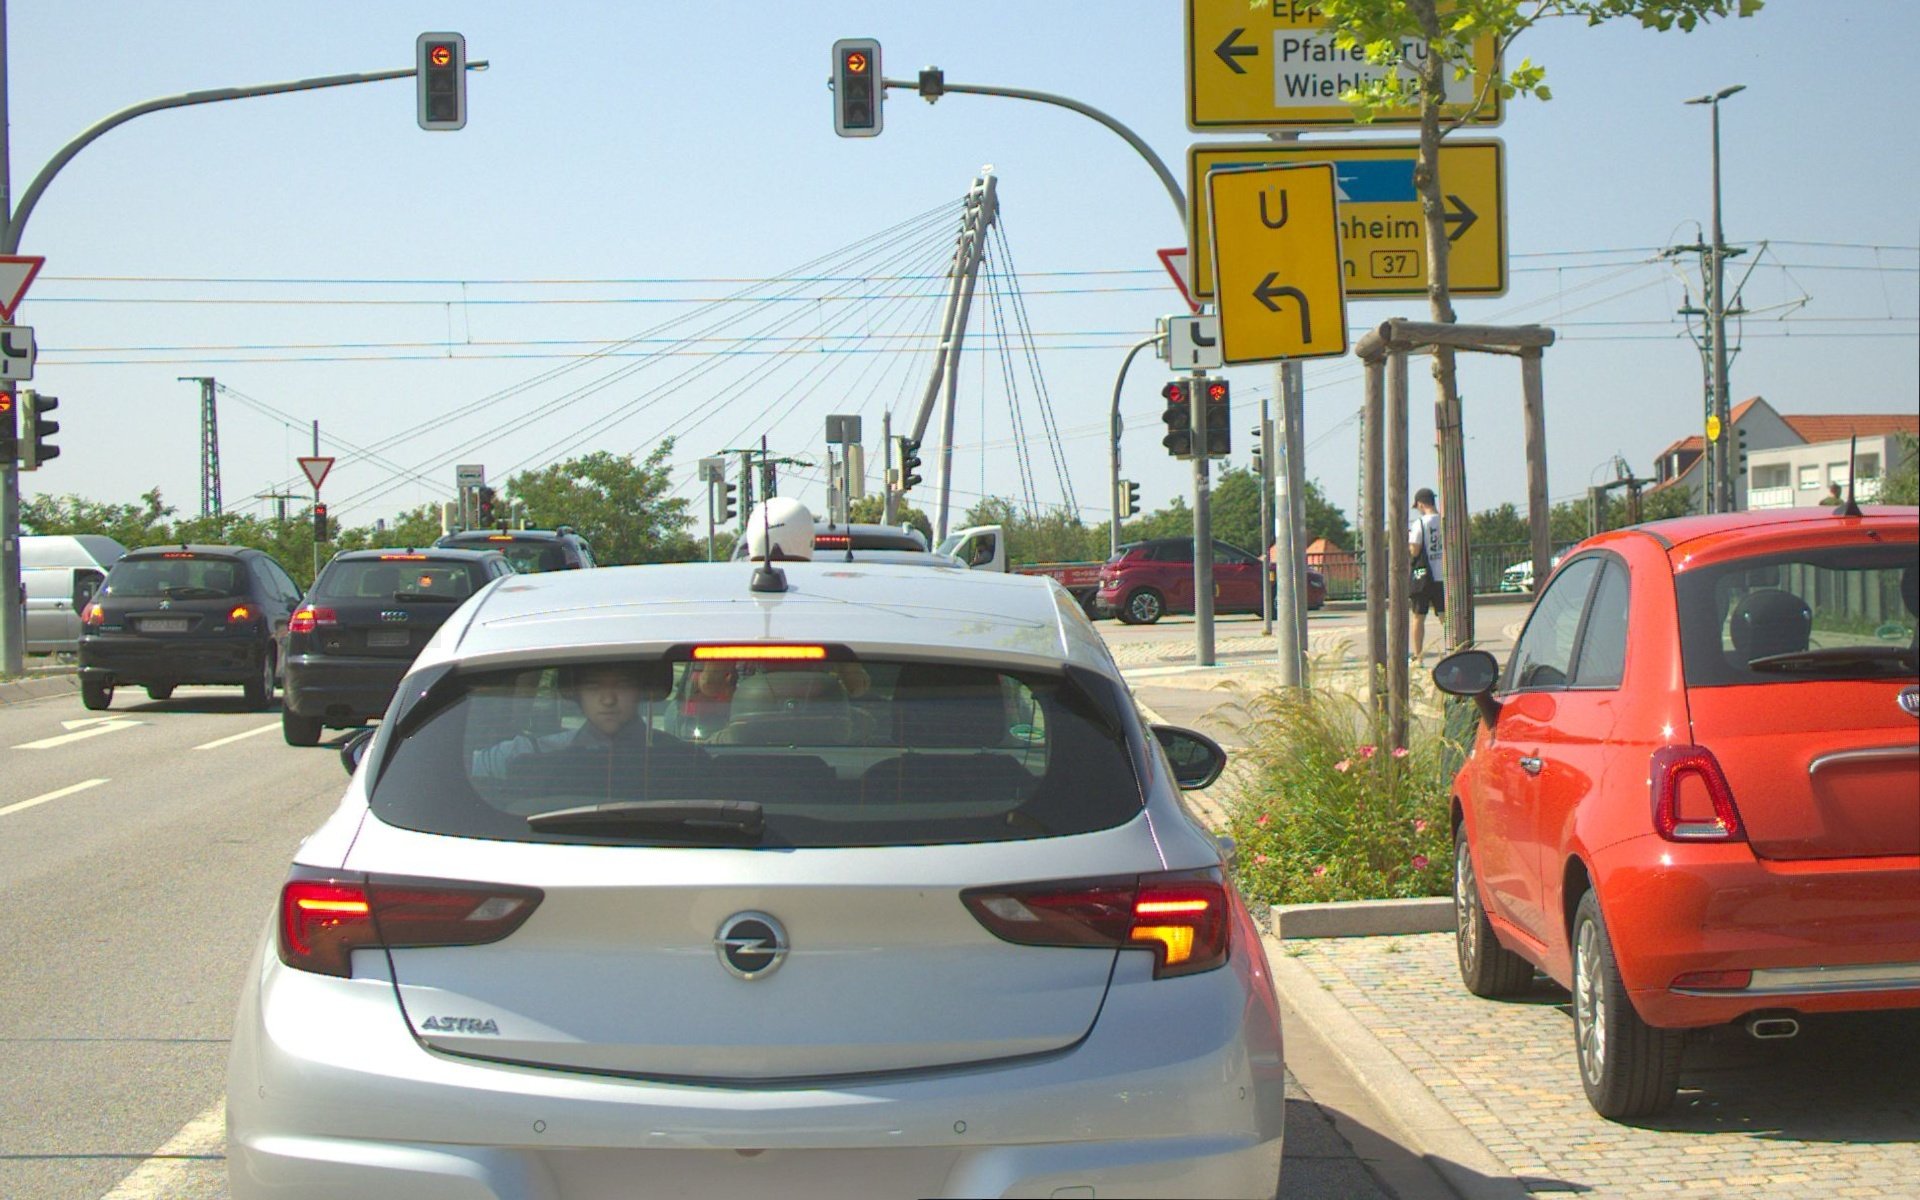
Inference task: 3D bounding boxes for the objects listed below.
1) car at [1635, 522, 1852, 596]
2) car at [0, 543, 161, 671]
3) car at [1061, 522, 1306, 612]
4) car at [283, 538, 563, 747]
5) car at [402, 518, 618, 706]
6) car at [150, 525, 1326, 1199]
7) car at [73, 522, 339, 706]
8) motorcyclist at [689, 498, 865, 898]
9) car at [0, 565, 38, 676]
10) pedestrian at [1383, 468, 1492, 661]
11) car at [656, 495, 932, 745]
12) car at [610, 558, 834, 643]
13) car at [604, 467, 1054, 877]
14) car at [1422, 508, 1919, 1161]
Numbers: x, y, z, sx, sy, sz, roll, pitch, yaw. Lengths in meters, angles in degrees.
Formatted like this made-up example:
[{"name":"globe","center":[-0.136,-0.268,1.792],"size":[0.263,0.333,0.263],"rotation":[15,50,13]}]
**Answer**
[{"name":"car","center":[14.930,-0.769,65.618],"size":[3.715,1.379,1.586],"rotation":[0,0,-8]},{"name":"car","center":[-17.839,0.107,65.288],"size":[5.004,2.368,1.782],"rotation":[0,0,18]},{"name":"car","center":[4.069,-0.599,62.959],"size":[4.274,1.626,1.756],"rotation":[0,0,-4]},{"name":"car","center":[-3.932,0.275,25.672],"size":[1.575,1.429,3.786],"rotation":[1,1,-1]},{"name":"car","center":[-4.074,0.084,31.617],"size":[1.649,1.610,3.821],"rotation":[1,1,-3]},{"name":"car","center":[-0.437,0.615,7.143],"size":[1.742,1.473,4.001],"rotation":[1,1,-3]},{"name":"car","center":[-6.748,0.097,31.091],"size":[1.597,1.542,3.762],"rotation":[1,1,-1]},{"name":"motorcyclist","center":[-0.648,0.338,12.317],"size":[0.581,1.384,0.707],"rotation":[1,0,-1]},{"name":"car","center":[-19.506,0.337,63.084],"size":[4.707,2.007,1.998],"rotation":[1,1,21]},{"name":"pedestrian","center":[4.609,-0.342,33.168],"size":[0.795,1.830,0.649],"rotation":[-1,1,-38]},{"name":"car","center":[-1.066,0.068,23.757],"size":[1.724,1.558,4.000],"rotation":[1,2,0]},{"name":"car","center":[-4.347,0.004,63.315],"size":[3.987,1.477,2.000],"rotation":[1,0,-1]},{"name":"car","center":[-0.615,0.264,17.619],"size":[1.993,1.814,4.402],"rotation":[1,2,-1]},{"name":"car","center":[2.352,0.509,9.758],"size":[1.610,1.491,3.352],"rotation":[-2,1,1]}]
